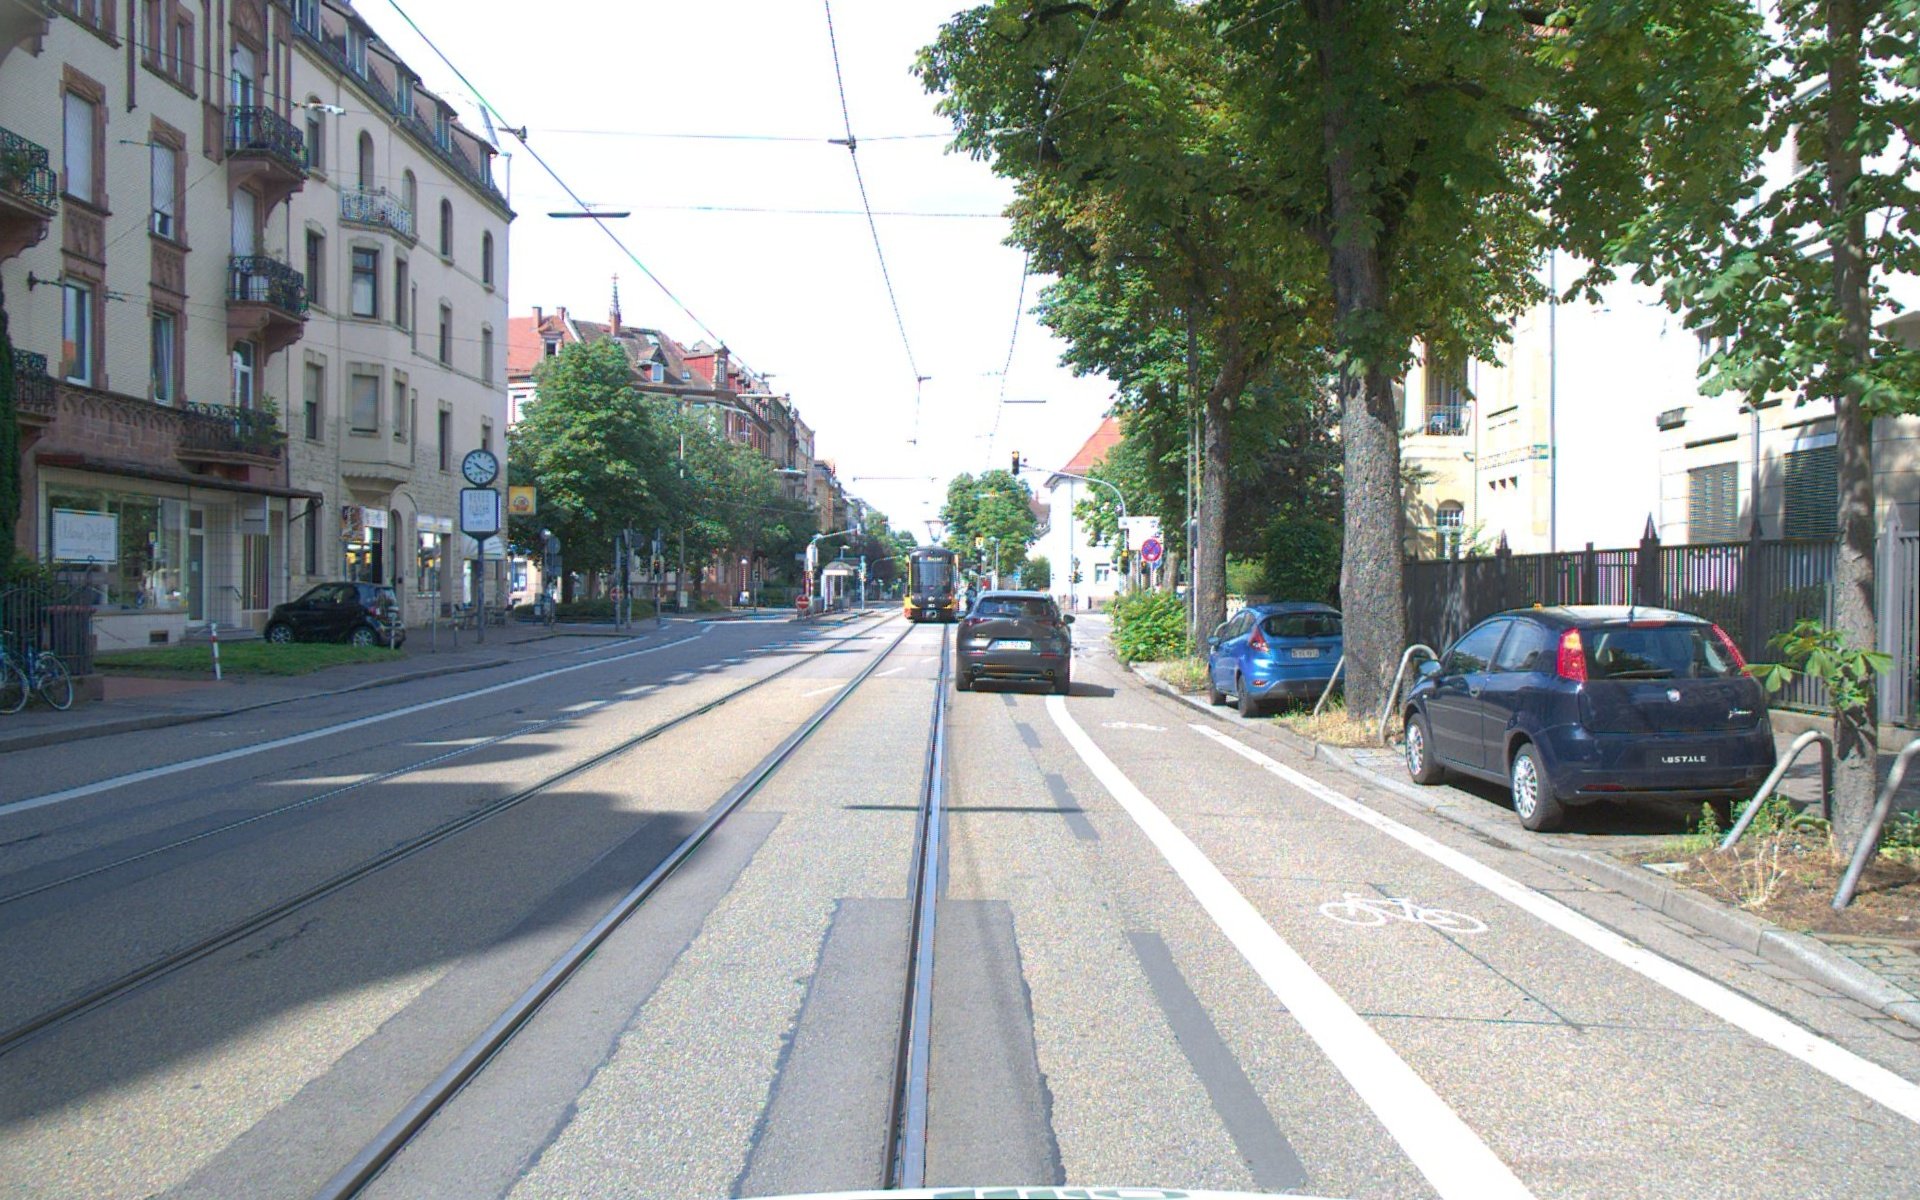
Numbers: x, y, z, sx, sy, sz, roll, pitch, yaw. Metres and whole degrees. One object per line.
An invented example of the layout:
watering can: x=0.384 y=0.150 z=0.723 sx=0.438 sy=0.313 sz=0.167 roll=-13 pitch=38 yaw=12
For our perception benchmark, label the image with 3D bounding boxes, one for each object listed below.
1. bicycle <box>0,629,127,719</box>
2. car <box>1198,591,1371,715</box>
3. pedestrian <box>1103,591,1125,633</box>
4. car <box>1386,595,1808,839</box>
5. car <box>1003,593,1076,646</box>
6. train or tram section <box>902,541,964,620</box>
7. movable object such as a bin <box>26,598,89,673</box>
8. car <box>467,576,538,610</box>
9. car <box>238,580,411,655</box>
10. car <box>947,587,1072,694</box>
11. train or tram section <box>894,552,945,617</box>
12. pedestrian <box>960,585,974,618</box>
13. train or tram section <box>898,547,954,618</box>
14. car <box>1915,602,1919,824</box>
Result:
bicycle: x=-10.600 y=0.851 z=19.419 sx=0.500 sy=0.976 sz=1.816 roll=3 pitch=-1 yaw=6
car: x=4.437 y=0.672 z=23.139 sx=1.591 sy=1.522 sz=3.847 roll=-2 pitch=0 yaw=-1
pedestrian: x=6.089 y=0.472 z=65.519 sx=0.856 sy=1.633 sz=0.632 roll=0 pitch=0 yaw=2
car: x=4.624 y=0.750 z=12.611 sx=1.607 sy=1.522 sz=3.756 roll=-2 pitch=0 yaw=-3
car: x=2.394 y=0.554 z=50.661 sx=1.749 sy=1.518 sz=4.880 roll=0 pitch=1 yaw=-3
train or tram section: x=-1.387 y=-0.876 z=80.067 sx=2.599 sy=3.589 sz=8.490 roll=-1 pitch=0 yaw=-4
movable object such as a bin: x=-13.769 y=0.540 z=25.244 sx=0.585 sy=1.088 sz=0.606 roll=3 pitch=0 yaw=33
car: x=-30.821 y=-0.484 z=111.539 sx=4.032 sy=2.048 sz=2.002 roll=-3 pitch=0 yaw=9
car: x=-14.181 y=0.379 z=37.015 sx=3.169 sy=1.539 sz=1.679 roll=2 pitch=0 yaw=3
car: x=0.714 y=0.584 z=26.638 sx=1.753 sy=1.538 sz=4.349 roll=1 pitch=0 yaw=-2
train or tram section: x=-2.445 y=-0.865 z=97.010 sx=2.599 sy=3.589 sz=8.490 roll=-1 pitch=0 yaw=-4
pedestrian: x=0.349 y=0.065 z=82.147 sx=0.654 sy=1.633 sz=0.699 roll=0 pitch=0 yaw=-2
train or tram section: x=-1.907 y=-0.869 z=88.568 sx=2.599 sy=3.589 sz=8.490 roll=-1 pitch=0 yaw=-4
car: x=4.655 y=0.758 z=4.757 sx=1.607 sy=1.522 sz=3.625 roll=-2 pitch=0 yaw=-2
